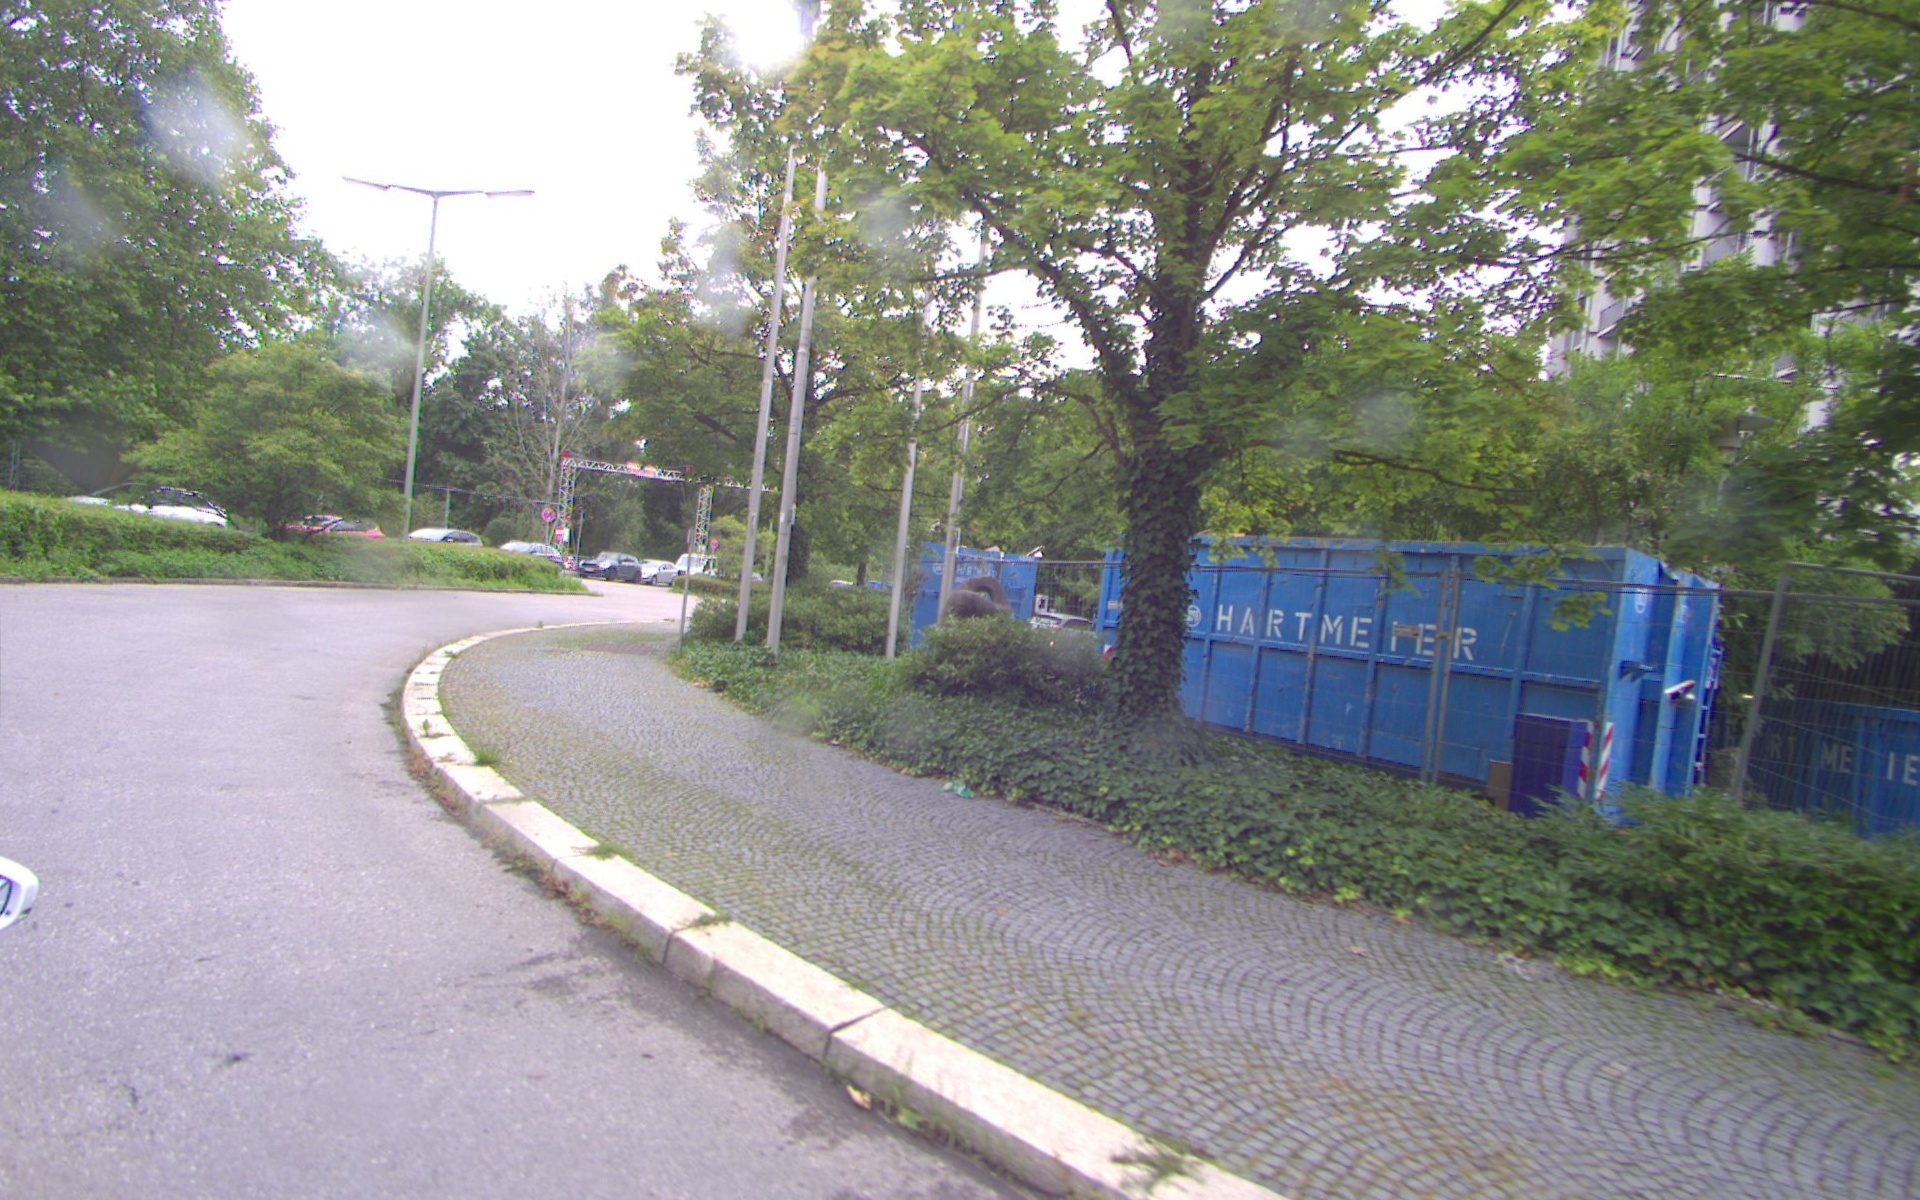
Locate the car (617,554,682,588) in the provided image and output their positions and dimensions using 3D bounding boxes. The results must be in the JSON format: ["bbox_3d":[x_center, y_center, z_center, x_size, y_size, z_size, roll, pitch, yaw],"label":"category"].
[{"bbox_3d":[-17.770,-1.629,57.726,1.962,1.594,4.001,7,0,7],"label":"car"}]

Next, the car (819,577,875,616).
[{"bbox_3d":[-5.387,-0.132,48.492,1.701,1.632,4.001,7,0,6],"label":"car"}]

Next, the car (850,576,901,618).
[{"bbox_3d":[-4.461,-0.129,53.835,1.701,1.914,4.328,7,0,7],"label":"car"}]

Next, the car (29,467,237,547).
[{"bbox_3d":[-22.548,-2.486,27.640,1.962,1.527,4.001,7,0,10],"label":"car"}]

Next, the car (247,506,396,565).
[{"bbox_3d":[-21.401,-2.117,33.913,1.962,1.427,4.001,7,0,10],"label":"car"}]

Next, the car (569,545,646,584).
[{"bbox_3d":[-18.408,-1.808,52.722,1.962,1.594,4.001,7,0,10],"label":"car"}]

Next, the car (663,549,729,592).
[{"bbox_3d":[-16.607,-1.833,63.604,2.164,2.255,4.871,7,0,7],"label":"car"}]

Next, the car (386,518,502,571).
[{"bbox_3d":[-20.332,-2.142,39.834,1.962,1.594,4.001,7,0,10],"label":"car"}]
